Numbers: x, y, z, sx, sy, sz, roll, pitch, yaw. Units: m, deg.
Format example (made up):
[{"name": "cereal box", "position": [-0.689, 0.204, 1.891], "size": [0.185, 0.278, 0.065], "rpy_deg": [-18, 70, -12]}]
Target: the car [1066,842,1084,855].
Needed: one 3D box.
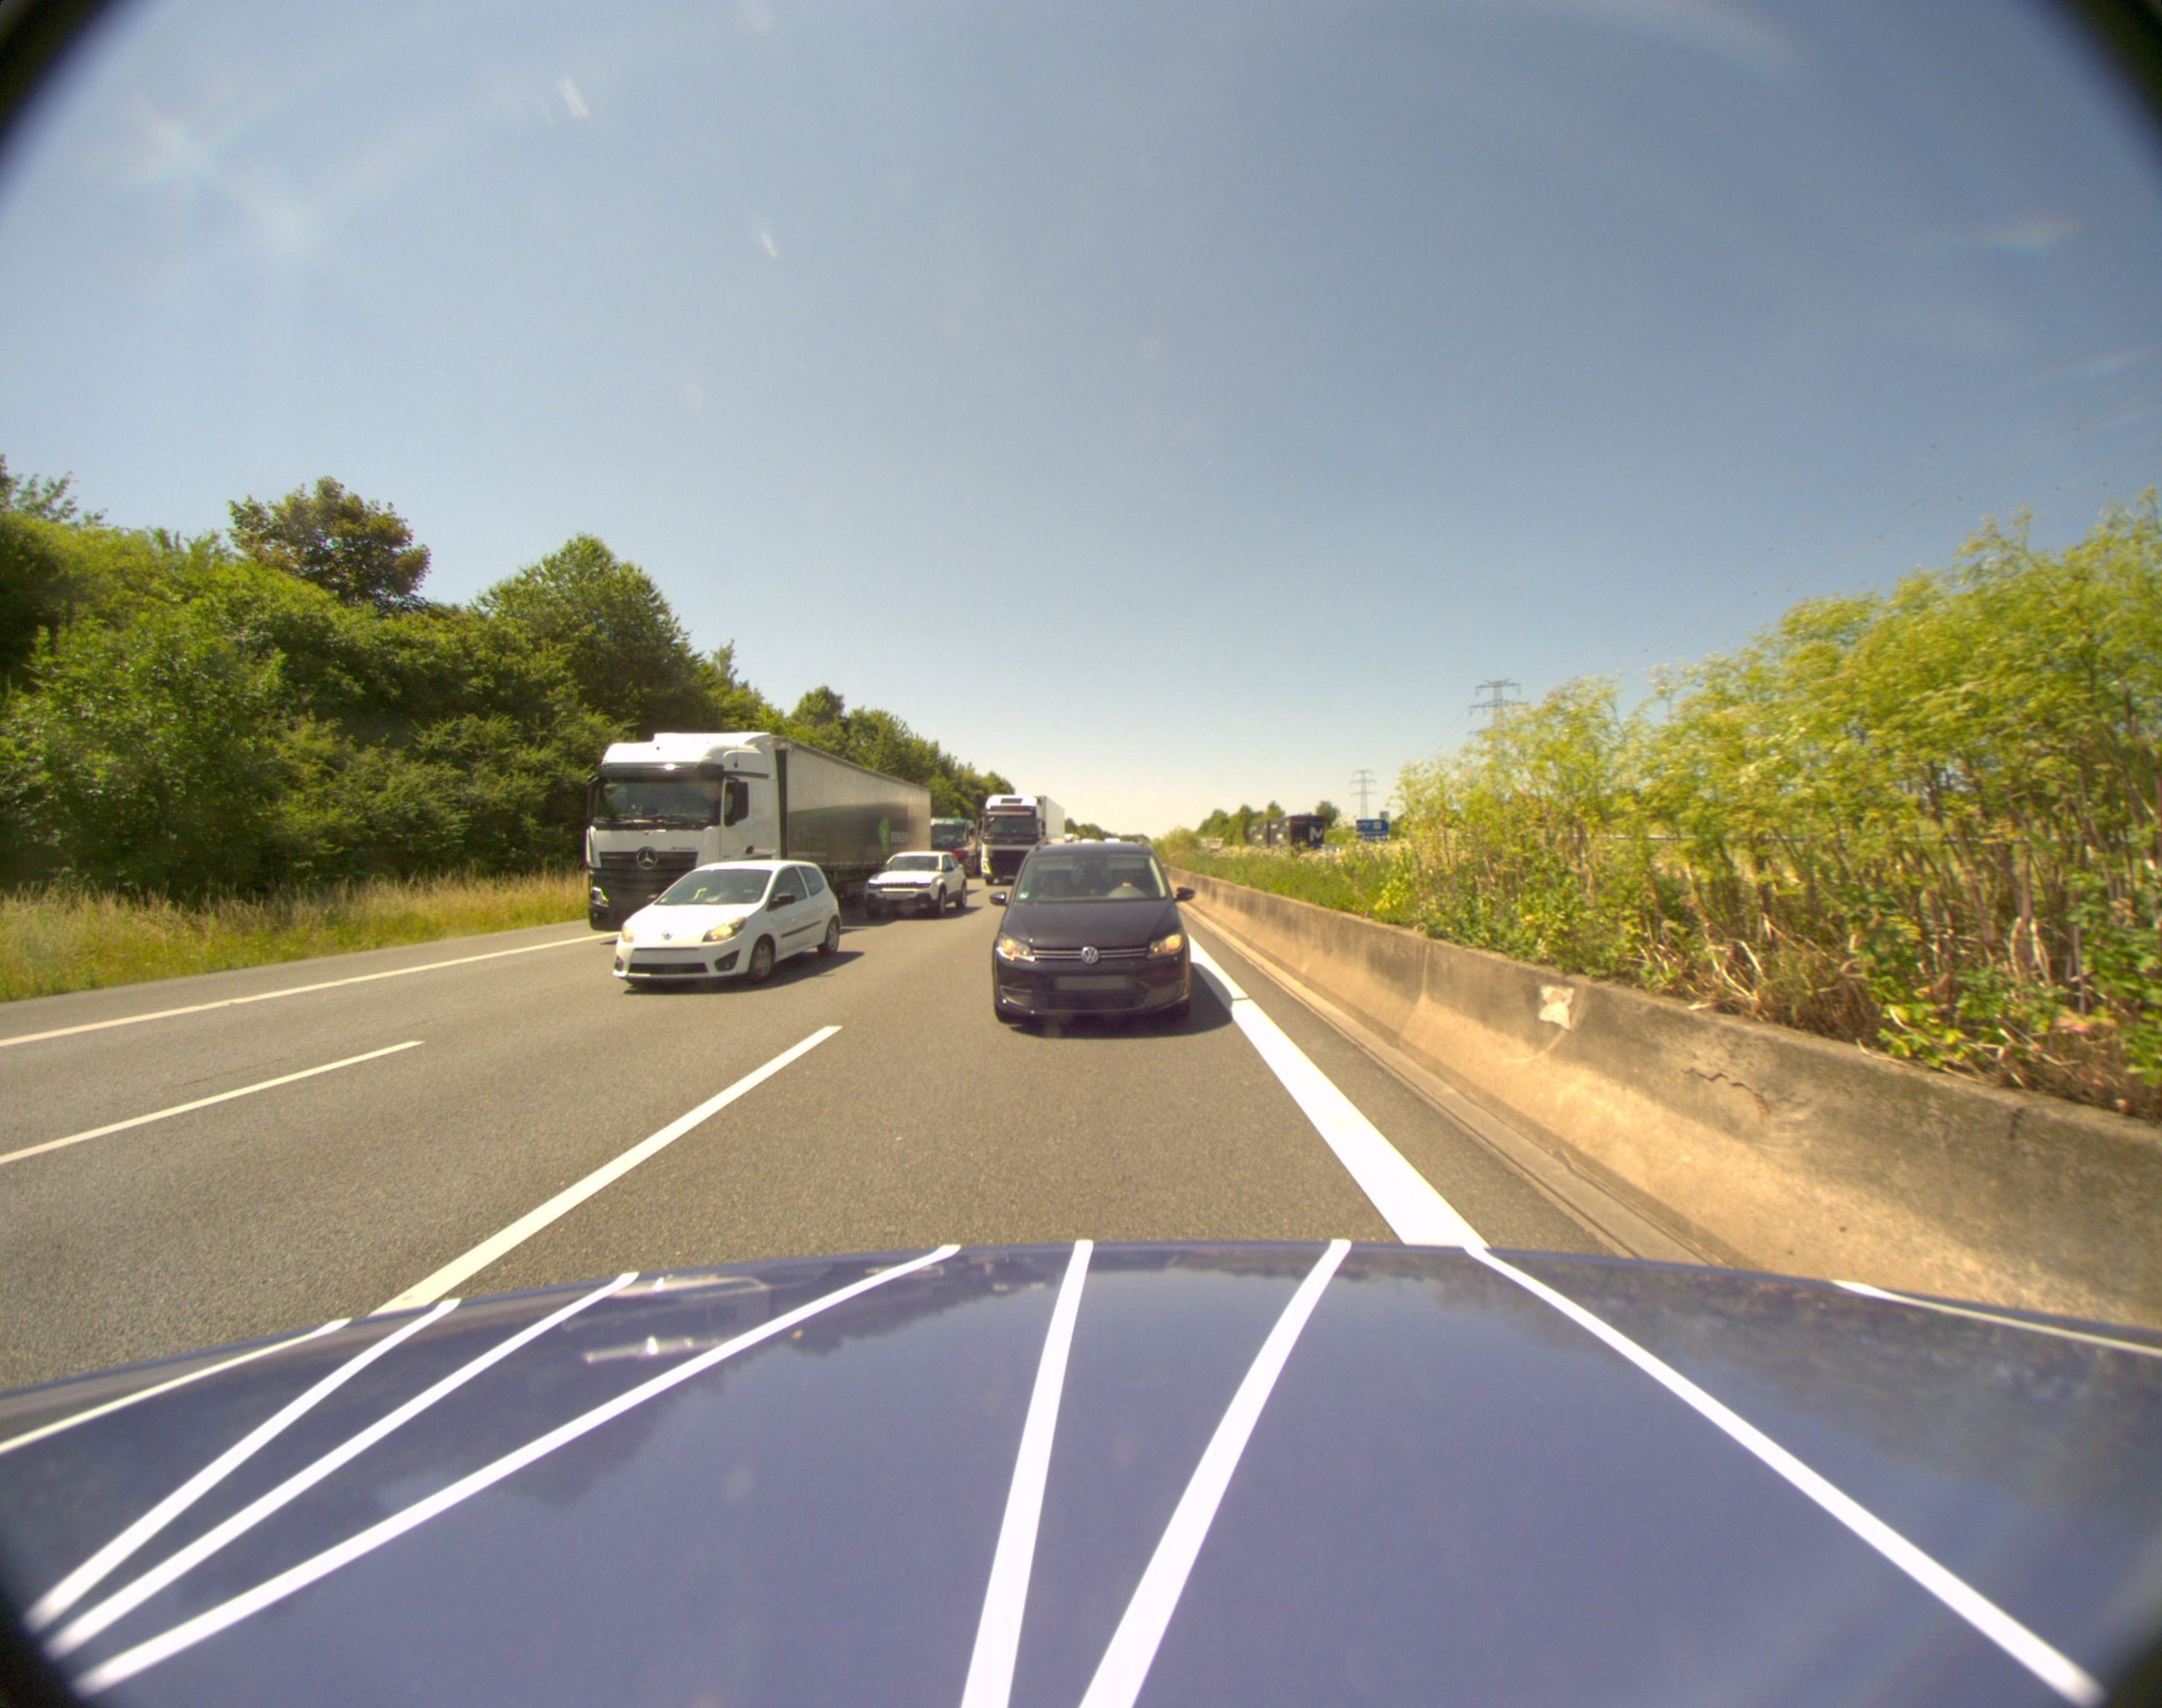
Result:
[{"name": "car", "position": [-0.649, -0.569, 83.537], "size": [1.650, 1.336, 3.381], "rpy_deg": [-1, 1, 3]}]

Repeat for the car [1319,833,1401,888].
[{"name": "car", "position": [9.578, 0.187, 26.349], "size": [1.585, 1.744, 3.687], "rpy_deg": [-1, 1, 2]}]

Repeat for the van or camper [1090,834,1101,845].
[{"name": "van or camper", "position": [3.761, -3.835, 196.604], "size": [2.745, 2.680, 5.363], "rpy_deg": [-1, 1, 3]}]

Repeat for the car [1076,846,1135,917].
[{"name": "car", "position": [0.668, 0.649, 19.881], "size": [1.357, 1.630, 2.994], "rpy_deg": [-2, 2, 3]}]

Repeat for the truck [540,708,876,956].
[{"name": "truck", "position": [-7.480, -0.436, 17.146], "size": [2.879, 4.133, 8.475], "rpy_deg": [-1, 1, 3]}]

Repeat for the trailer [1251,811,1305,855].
[{"name": "trailer", "position": [18.140, -1.899, 70.568], "size": [3.132, 3.737, 7.869], "rpy_deg": [-1, 1, 1]}]

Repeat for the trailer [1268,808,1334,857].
[{"name": "trailer", "position": [17.946, -1.692, 62.603], "size": [3.190, 3.740, 8.200], "rpy_deg": [-1, 1, 2]}]

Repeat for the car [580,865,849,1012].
[{"name": "car", "position": [-4.541, 0.944, 10.115], "size": [1.609, 1.426, 3.809], "rpy_deg": [0, 2, 2]}]

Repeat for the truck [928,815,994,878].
[{"name": "truck", "position": [-6.414, -0.442, 41.272], "size": [2.299, 3.128, 5.675], "rpy_deg": [-1, 1, 3]}]

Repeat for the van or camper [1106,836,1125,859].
[{"name": "van or camper", "position": [3.852, -0.749, 83.983], "size": [1.956, 2.368, 4.037], "rpy_deg": [-2, 2, 3]}]

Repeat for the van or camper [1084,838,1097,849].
[{"name": "van or camper", "position": [1.697, -1.910, 136.466], "size": [2.189, 2.018, 4.364], "rpy_deg": [-1, 1, 3]}]

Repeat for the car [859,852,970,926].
[{"name": "car", "position": [-3.990, 0.775, 18.840], "size": [1.748, 1.549, 3.884], "rpy_deg": [0, 2, 2]}]

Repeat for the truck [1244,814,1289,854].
[{"name": "truck", "position": [18.227, -1.944, 74.960], "size": [3.079, 3.688, 5.462], "rpy_deg": [-1, 1, 1]}]

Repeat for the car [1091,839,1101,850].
[{"name": "car", "position": [3.114, -1.928, 155.473], "size": [1.998, 2.302, 4.229], "rpy_deg": [-1, 1, 1]}]

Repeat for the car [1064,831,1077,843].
[{"name": "car", "position": [-1.809, -2.902, 132.809], "size": [1.998, 2.002, 4.000], "rpy_deg": [-1, 1, 2]}]

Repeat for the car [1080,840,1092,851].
[{"name": "car", "position": [0.802, -1.337, 120.395], "size": [1.652, 1.636, 4.000], "rpy_deg": [-1, 1, 3]}]

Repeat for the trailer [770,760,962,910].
[{"name": "trailer", "position": [-6.975, -0.632, 27.358], "size": [2.879, 4.133, 12.075], "rpy_deg": [-1, 1, 3]}]

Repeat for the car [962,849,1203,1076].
[{"name": "car", "position": [0.122, 0.792, 8.250], "size": [1.758, 1.571, 5.291], "rpy_deg": [-1, 2, 2]}]

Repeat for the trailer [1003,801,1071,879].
[{"name": "trailer", "position": [-2.320, -0.814, 43.648], "size": [2.776, 3.951, 9.156], "rpy_deg": [-1, 1, 3]}]

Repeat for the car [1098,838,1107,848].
[{"name": "car", "position": [4.983, -2.594, 174.440], "size": [1.998, 2.302, 4.229], "rpy_deg": [-1, 1, 3]}]

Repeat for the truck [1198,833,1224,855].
[{"name": "truck", "position": [20.866, -1.630, 122.784], "size": [2.771, 3.270, 11.819], "rpy_deg": [-1, 1, 3]}]

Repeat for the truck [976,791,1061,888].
[{"name": "truck", "position": [-2.730, -0.679, 35.947], "size": [2.750, 3.972, 8.361], "rpy_deg": [-1, 1, 3]}]
